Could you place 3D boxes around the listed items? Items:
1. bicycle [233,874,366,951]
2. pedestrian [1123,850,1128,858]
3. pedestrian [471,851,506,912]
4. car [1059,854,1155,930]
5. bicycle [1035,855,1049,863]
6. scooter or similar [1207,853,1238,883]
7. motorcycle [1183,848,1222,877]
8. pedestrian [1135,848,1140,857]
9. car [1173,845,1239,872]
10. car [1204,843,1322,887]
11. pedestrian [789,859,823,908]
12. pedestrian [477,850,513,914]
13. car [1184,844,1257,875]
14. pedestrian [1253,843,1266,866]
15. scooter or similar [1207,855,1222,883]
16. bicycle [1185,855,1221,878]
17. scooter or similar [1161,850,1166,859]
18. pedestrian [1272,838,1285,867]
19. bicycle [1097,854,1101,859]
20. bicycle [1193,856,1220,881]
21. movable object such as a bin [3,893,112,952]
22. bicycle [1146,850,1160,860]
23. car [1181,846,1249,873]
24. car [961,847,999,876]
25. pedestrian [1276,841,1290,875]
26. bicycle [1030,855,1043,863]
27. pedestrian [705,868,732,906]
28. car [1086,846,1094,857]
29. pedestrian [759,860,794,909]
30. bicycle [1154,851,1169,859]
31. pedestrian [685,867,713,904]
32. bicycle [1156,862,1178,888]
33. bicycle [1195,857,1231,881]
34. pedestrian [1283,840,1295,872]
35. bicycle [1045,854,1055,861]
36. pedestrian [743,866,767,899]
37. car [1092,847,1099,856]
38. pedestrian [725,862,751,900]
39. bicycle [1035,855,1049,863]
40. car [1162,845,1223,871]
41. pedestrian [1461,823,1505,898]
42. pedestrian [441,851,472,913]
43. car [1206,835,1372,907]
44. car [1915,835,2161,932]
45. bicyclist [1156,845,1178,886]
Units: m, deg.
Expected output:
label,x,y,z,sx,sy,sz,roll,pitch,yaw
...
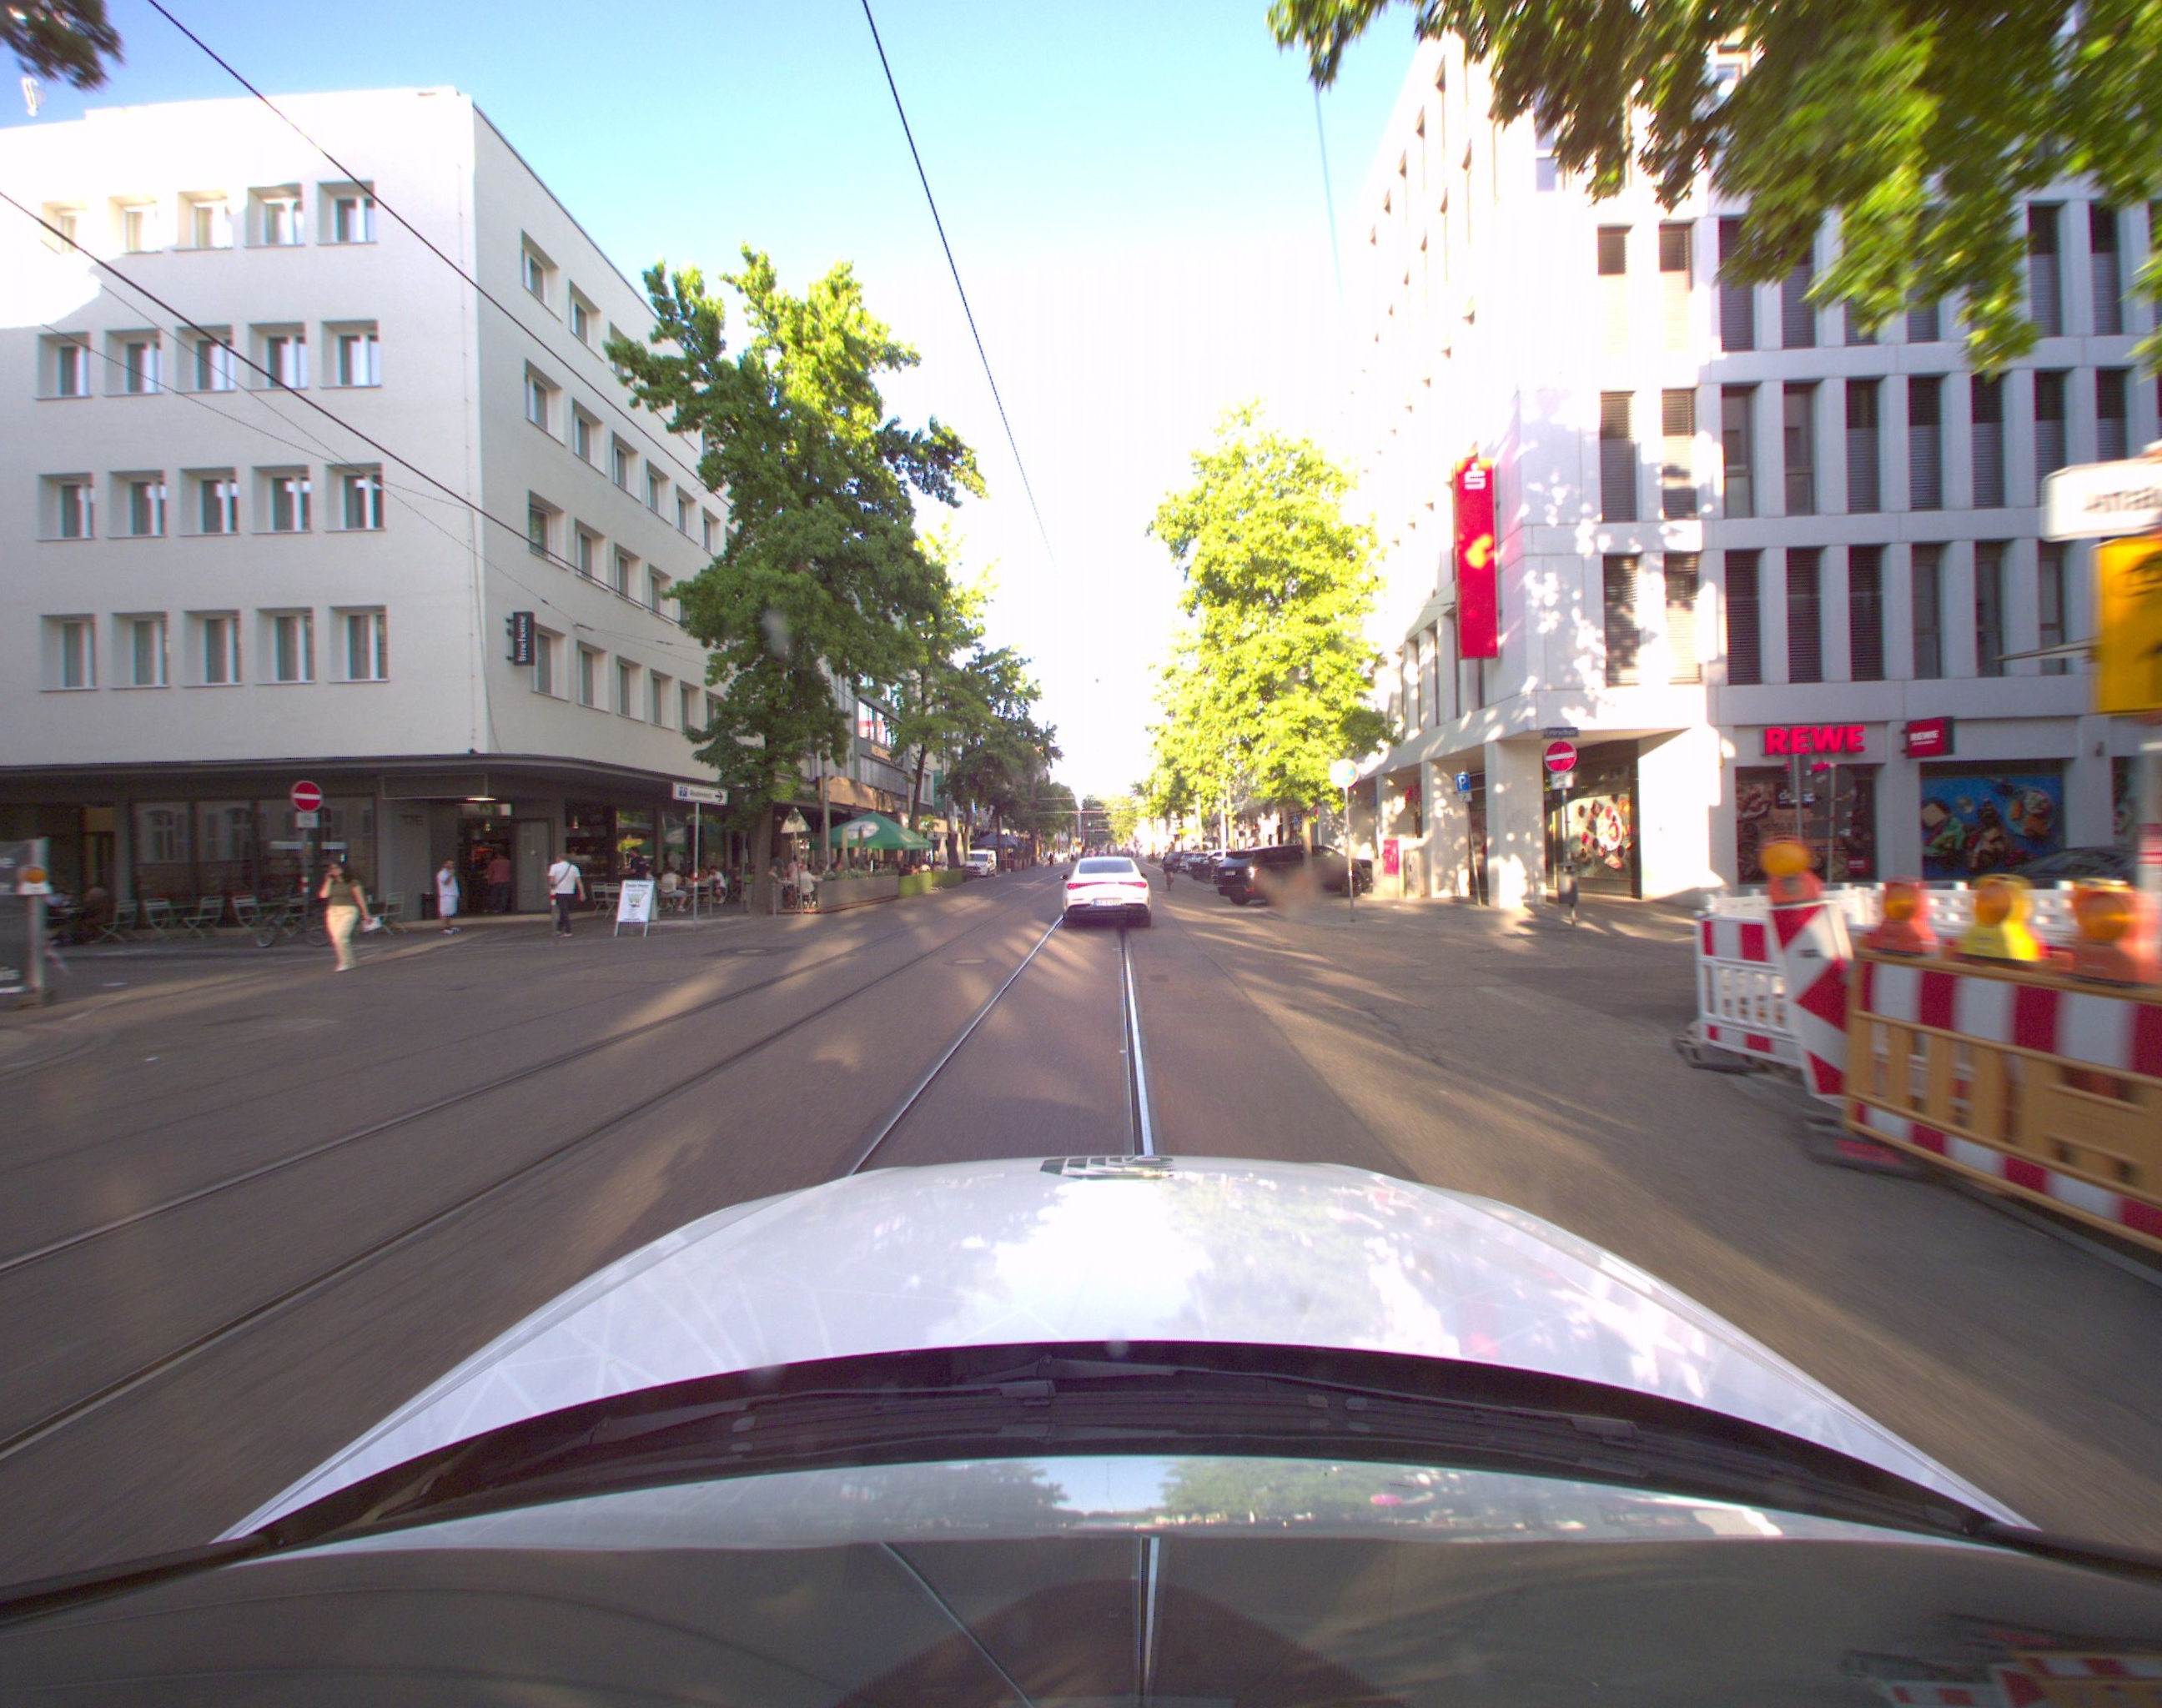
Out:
label,x,y,z,sx,sy,sz,roll,pitch,yaw
bicycle,-15.220,1.135,15.884,1.866,1.380,0.713,-1,3,3
pedestrian,10.019,-0.037,182.888,0.957,1.785,0.804,-3,0,2
pedestrian,-15.788,0.718,21.704,0.399,1.604,0.625,-1,0,36
car,0.595,0.741,17.984,1.850,1.455,4.177,-1,0,2
bicycle,-4.966,0.641,102.948,1.784,1.077,0.377,0,0,-2
scooter or similar,6.683,0.644,38.409,1.311,1.276,0.559,-5,0,-30
motorcycle,6.973,0.478,46.686,2.332,1.509,0.849,-4,-1,-42
pedestrian,12.184,-0.279,177.016,0.957,1.785,0.804,-3,0,2
car,8.787,0.318,57.318,4.261,1.587,1.866,-4,0,-29
car,7.910,0.456,35.195,5.082,1.469,1.956,-4,0,-34
pedestrian,-8.011,0.843,23.753,0.686,1.386,0.807,0,0,3
pedestrian,-15.053,0.700,20.912,0.399,1.604,0.625,-1,0,36
car,8.568,0.343,49.850,4.174,1.571,1.836,-4,0,-31
pedestrian,12.638,0.025,57.718,0.711,1.624,0.883,-3,0,3
scooter or similar,6.456,0.715,39.373,0.449,1.276,1.307,-5,0,1
bicycle,6.768,0.703,45.099,1.901,1.119,0.661,-4,-1,-27
scooter or similar,11.659,0.109,114.886,0.491,1.277,0.658,-3,0,-9
pedestrian,12.236,-0.101,50.444,0.555,1.750,0.525,-4,0,2
bicycle,4.172,0.605,190.629,0.797,1.142,2.257,0,0,1
bicycle,6.682,0.757,43.175,0.475,1.163,1.705,-5,0,42
movable object such as a bin,-21.381,1.423,17.036,1.110,1.114,0.857,-1,2,0
bicycle,10.594,0.135,120.215,1.908,1.281,0.608,-3,0,-9
car,8.958,0.378,54.537,4.163,1.499,1.677,-4,0,-22
car,-6.916,0.498,56.189,1.788,1.864,4.558,1,0,3
pedestrian,10.685,0.190,43.014,0.521,1.750,0.559,-4,0,4
bicycle,-5.435,0.647,99.761,1.586,0.930,0.378,0,0,8
pedestrian,-11.658,1.056,26.194,0.550,1.161,0.687,0,0,3
car,2.512,-0.750,231.633,1.985,2.897,5.279,-2,0,3
pedestrian,-8.858,0.861,23.697,0.686,1.386,0.807,0,0,3
bicycle,12.044,0.174,122.488,2.114,1.096,0.607,-2,0,-11
pedestrian,-12.301,1.017,26.231,0.550,1.161,0.687,0,0,3
bicycle,3.545,0.858,33.461,0.714,0.995,2.065,0,0,11
bicycle,6.629,0.752,40.927,1.567,1.088,0.861,-5,2,-28
pedestrian,10.975,0.107,42.979,0.514,1.696,0.551,-1,0,7
bicycle,-4.608,0.527,122.381,1.491,1.029,0.344,0,0,-8
pedestrian,-11.709,1.014,29.223,0.550,1.161,0.687,0,0,3
car,4.344,-0.814,250.355,1.902,2.461,5.279,-2,0,3
pedestrian,-11.944,0.944,28.376,0.599,1.298,0.687,0,0,3
bicycle,-4.982,0.643,103.377,1.784,1.077,0.377,0,0,-2
car,8.424,0.263,61.320,4.369,1.652,1.679,-4,0,-29
pedestrian,10.191,0.160,20.636,0.746,1.818,0.808,-4,-1,35
pedestrian,-16.590,0.734,21.640,0.501,1.604,0.616,-1,0,-24
car,6.333,0.477,24.754,4.678,1.763,1.977,-4,0,-27
car,16.583,0.447,13.169,4.301,1.418,1.796,-1,-2,0
bicyclist,3.518,0.462,33.313,0.772,1.613,0.915,0,0,11
